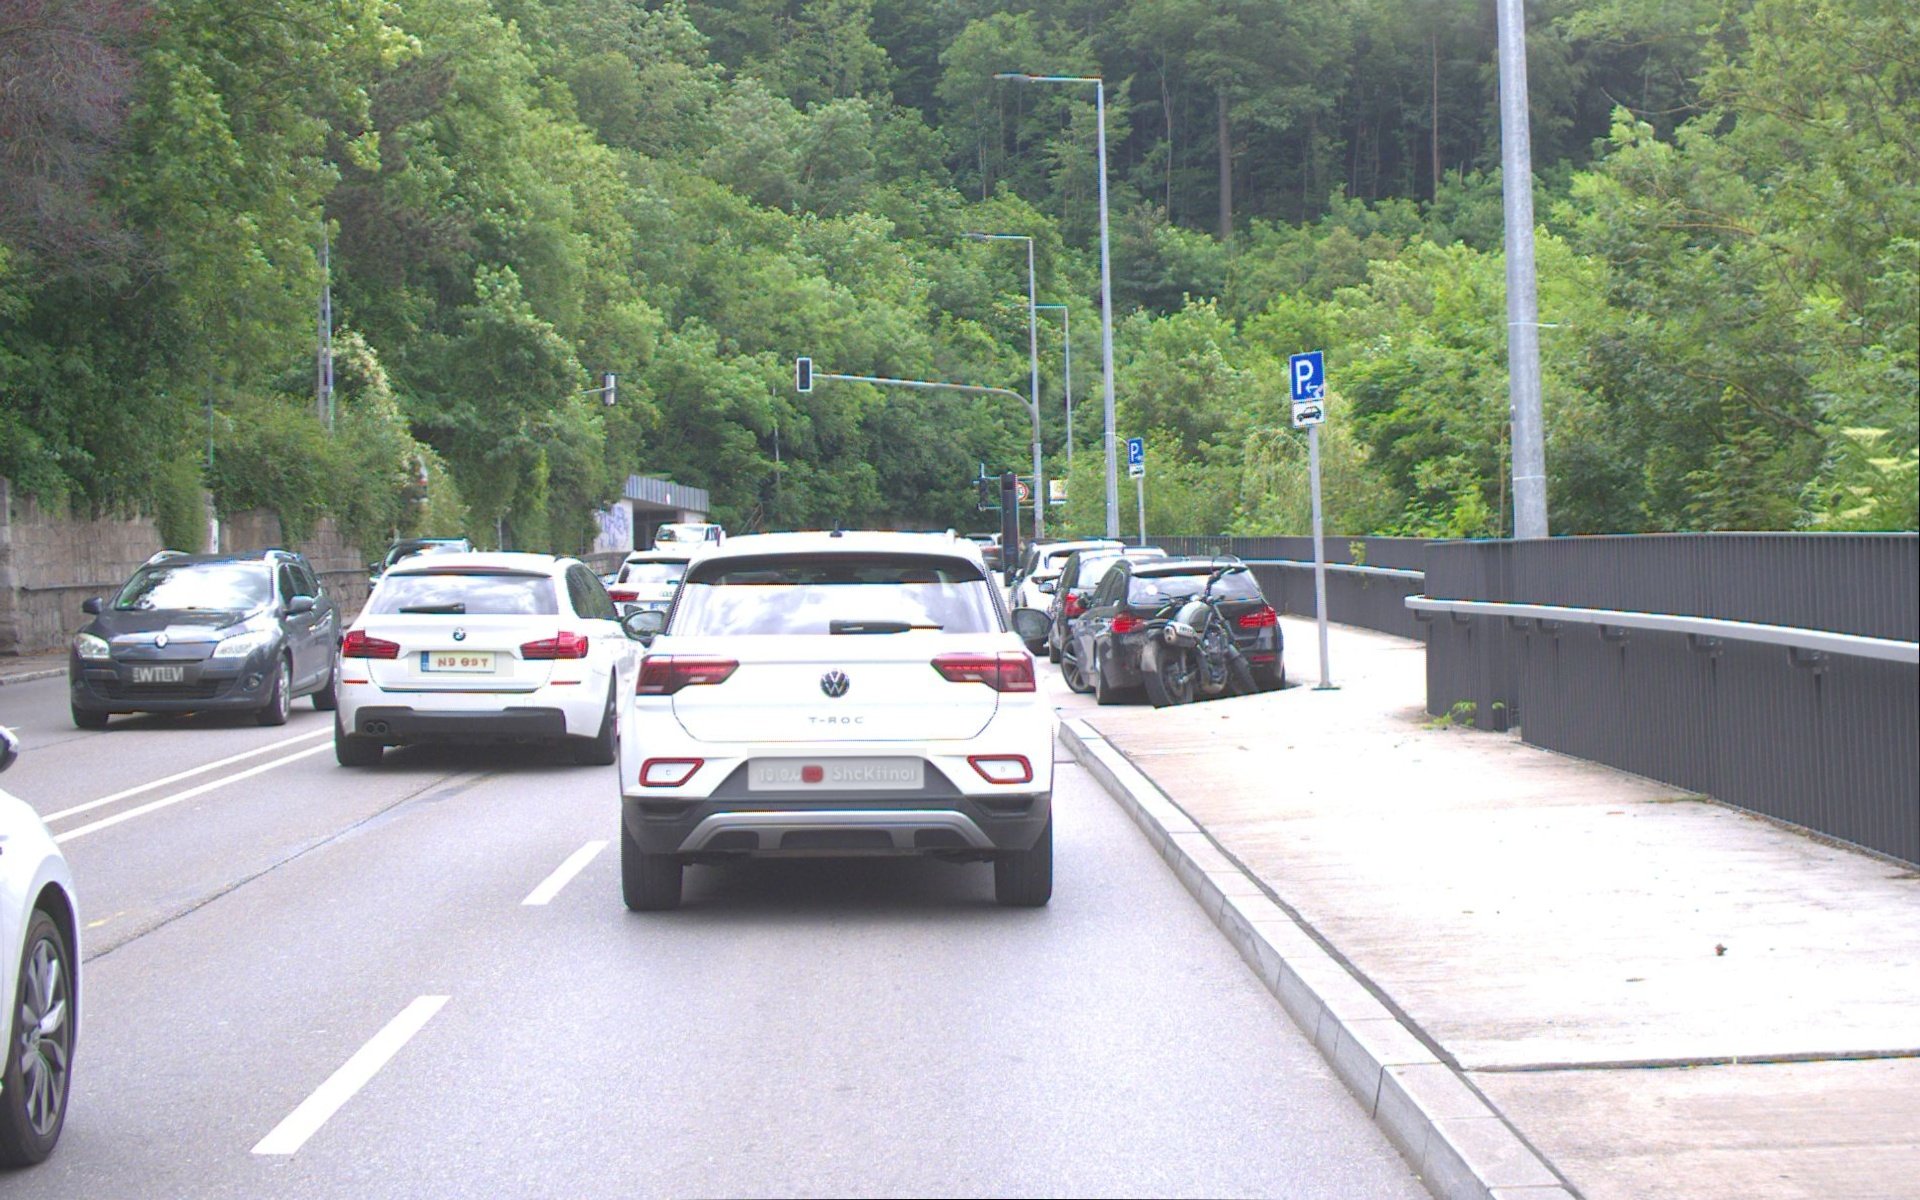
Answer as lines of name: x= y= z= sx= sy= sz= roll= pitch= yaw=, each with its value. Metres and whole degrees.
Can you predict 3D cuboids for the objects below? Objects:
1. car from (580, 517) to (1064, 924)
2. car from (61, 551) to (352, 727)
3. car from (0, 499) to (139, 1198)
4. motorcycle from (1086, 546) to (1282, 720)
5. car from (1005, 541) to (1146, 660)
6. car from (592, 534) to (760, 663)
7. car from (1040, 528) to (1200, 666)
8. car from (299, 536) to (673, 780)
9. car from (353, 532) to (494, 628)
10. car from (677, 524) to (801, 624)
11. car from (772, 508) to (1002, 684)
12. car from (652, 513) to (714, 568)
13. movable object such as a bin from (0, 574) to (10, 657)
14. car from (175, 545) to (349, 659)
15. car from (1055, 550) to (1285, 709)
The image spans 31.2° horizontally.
car: x=-0.475 y=0.462 z=15.268 sx=1.814 sy=1.534 sz=4.008 roll=-1 pitch=0 yaw=2
car: x=-6.559 y=0.299 z=30.363 sx=1.856 sy=1.441 sz=4.296 roll=0 pitch=1 yaw=-3
car: x=-2.975 y=0.562 z=6.820 sx=1.720 sy=1.549 sz=4.276 roll=0 pitch=1 yaw=-1
motorcycle: x=1.999 y=0.260 z=30.290 sx=0.771 sy=1.462 sz=2.501 roll=1 pitch=1 yaw=28
car: x=1.601 y=-0.018 z=49.013 sx=1.726 sy=1.563 sz=4.624 roll=-2 pitch=1 yaw=-1
car: x=-3.710 y=-0.019 z=45.492 sx=1.862 sy=1.589 sz=4.000 roll=1 pitch=0 yaw=0
car: x=1.975 y=-0.073 z=43.435 sx=1.659 sy=1.566 sz=4.256 roll=-3 pitch=1 yaw=-1
car: x=-3.258 y=0.332 z=24.551 sx=1.993 sy=1.552 sz=4.681 roll=1 pitch=1 yaw=0
car: x=-9.776 y=-0.378 z=62.954 sx=1.815 sy=1.691 sz=4.470 roll=0 pitch=1 yaw=1
car: x=-3.942 y=-0.485 z=61.886 sx=1.993 sy=1.735 sz=4.000 roll=0 pitch=1 yaw=0
car: x=-0.759 y=-0.060 z=38.862 sx=1.994 sy=1.837 sz=4.149 roll=1 pitch=1 yaw=7
car: x=-10.203 y=-2.194 z=126.978 sx=1.921 sy=1.998 sz=5.356 roll=0 pitch=1 yaw=-1
movable object such as a bin: x=-12.966 y=0.205 z=45.165 sx=0.787 sy=1.067 sz=0.709 roll=-1 pitch=2 yaw=-4
car: x=-9.296 y=0.003 z=45.994 sx=1.583 sy=1.456 sz=3.523 roll=0 pitch=1 yaw=0
car: x=2.030 y=0.246 z=34.407 sx=1.823 sy=1.396 sz=4.320 roll=-3 pitch=1 yaw=-2
